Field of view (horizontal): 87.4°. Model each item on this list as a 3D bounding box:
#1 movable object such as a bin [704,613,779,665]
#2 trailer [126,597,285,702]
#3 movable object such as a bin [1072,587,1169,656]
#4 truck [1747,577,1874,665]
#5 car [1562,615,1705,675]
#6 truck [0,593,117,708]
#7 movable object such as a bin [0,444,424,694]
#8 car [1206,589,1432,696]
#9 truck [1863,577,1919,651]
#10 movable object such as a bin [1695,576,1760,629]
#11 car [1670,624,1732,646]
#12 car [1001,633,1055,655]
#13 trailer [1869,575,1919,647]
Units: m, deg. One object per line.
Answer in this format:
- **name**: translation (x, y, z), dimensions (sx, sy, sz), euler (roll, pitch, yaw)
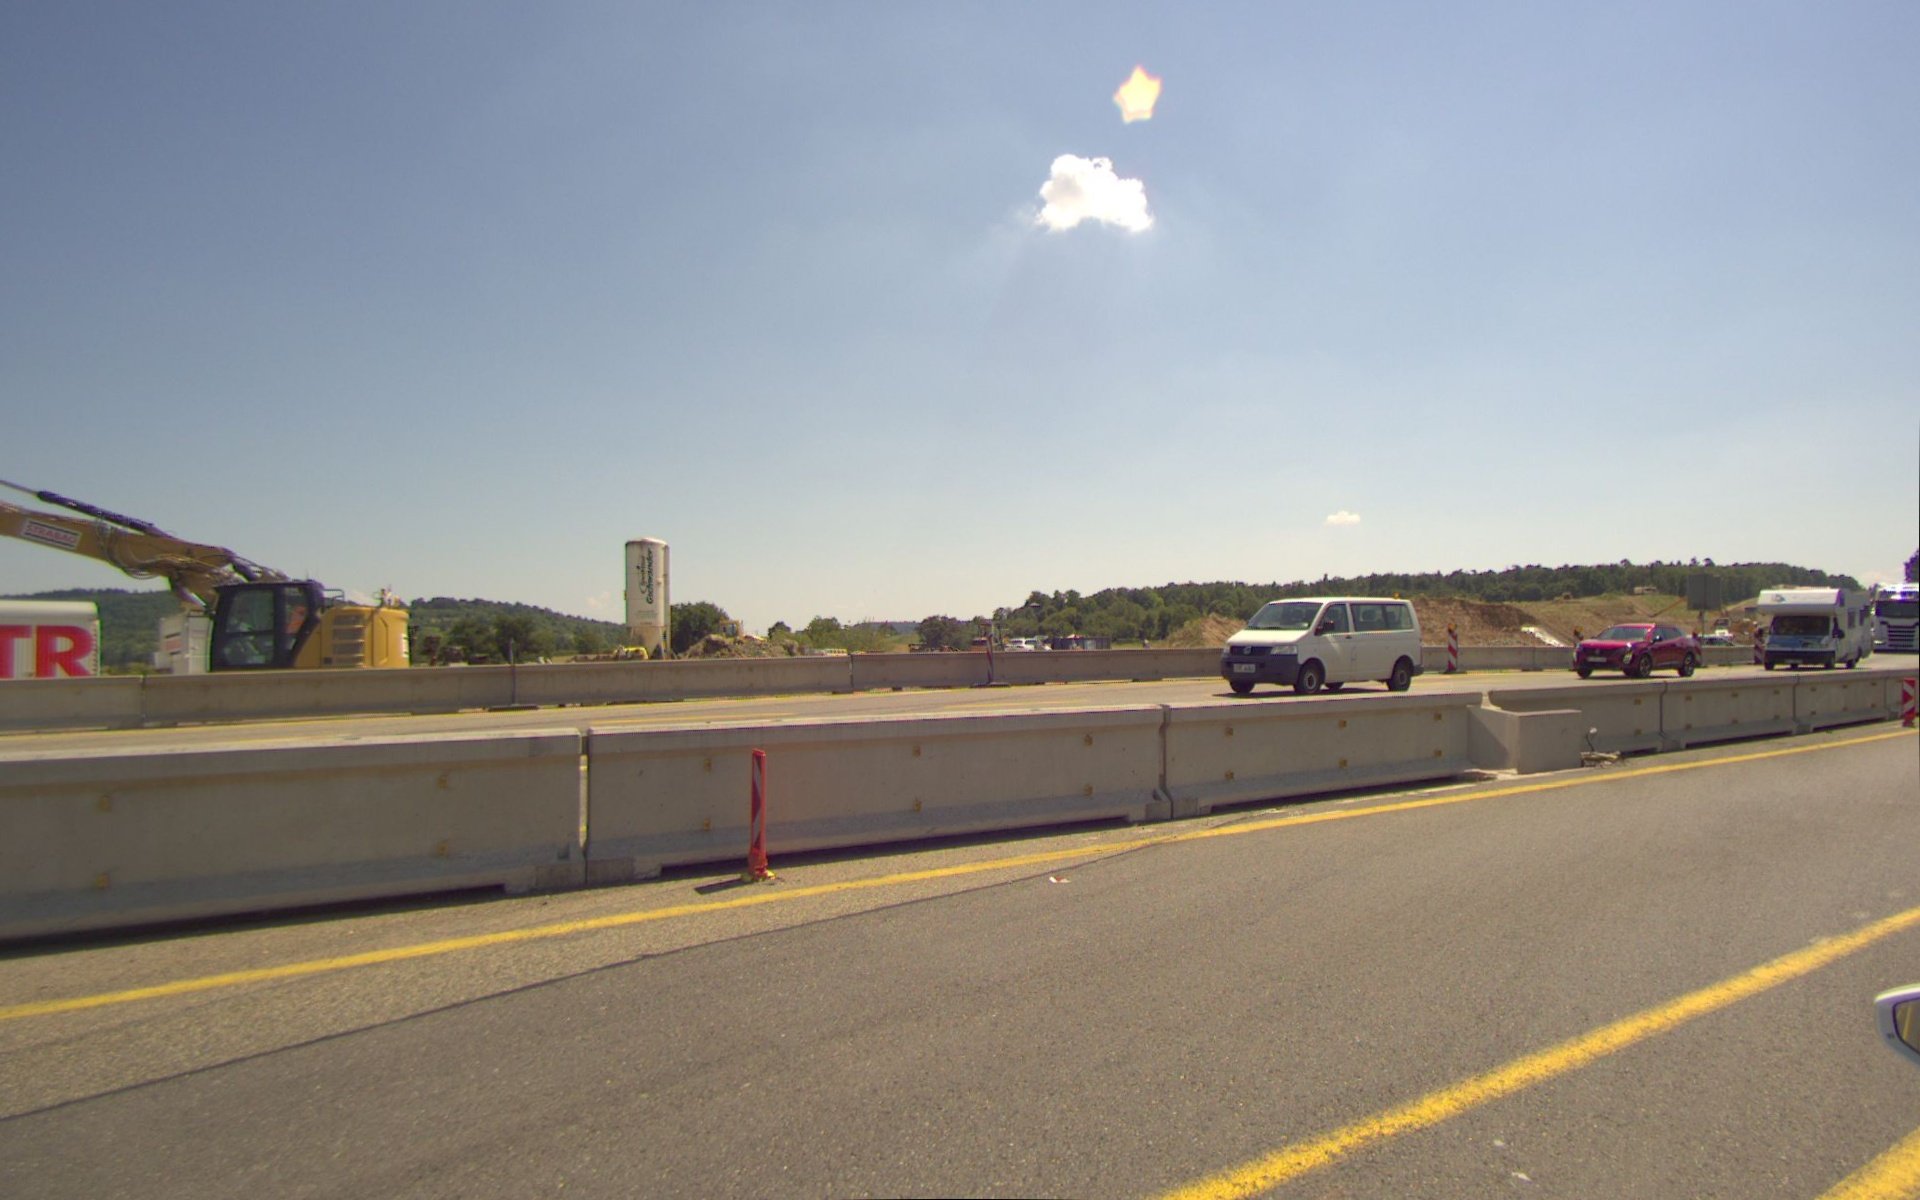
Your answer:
- **movable object such as a bin**: translation (-14.033, 2.474, 64.491), dimensions (4.425, 3.182, 1.988), euler (0, -1, -25)
- **trailer**: translation (-24.112, 1.521, 32.035), dimensions (5.498, 3.036, 2.870), euler (-2, -2, 40)
- **movable object such as a bin**: translation (7.742, 1.021, 48.429), dimensions (4.219, 3.182, 1.988), euler (0, -1, -25)
- **truck**: translation (32.761, 0.805, 38.597), dimensions (7.186, 3.112, 2.422), euler (1, -2, -39)
- **car**: translation (19.652, 1.263, 29.281), dimensions (4.284, 1.649, 1.712), euler (0, -2, -30)
- **truck**: translation (-26.454, 1.384, 27.942), dimensions (2.313, 3.083, 4.246), euler (-1, -2, 39)
- **movable object such as a bin**: translation (-15.866, -0.498, 19.824), dimensions (9.205, 4.387, 2.914), euler (0, -1, -27)
- **car**: translation (7.491, 0.838, 20.794), dimensions (4.839, 1.979, 1.855), euler (1, -2, -33)
- **truck**: translation (54.917, 0.834, 58.598), dimensions (5.458, 4.115, 2.678), euler (1, -2, -42)
- **movable object such as a bin**: translation (116.647, 0.484, 152.749), dimensions (7.554, 7.815, 3.426), euler (-2, -2, 43)
- **car**: translation (52.476, 2.481, 71.174), dimensions (3.137, 1.474, 1.548), euler (-1, -1, 15)
- **car**: translation (4.795, 3.056, 70.436), dimensions (1.592, 1.427, 4.428), euler (-1, -2, 38)
- **trailer**: translation (60.231, 0.737, 63.468), dimensions (13.872, 4.168, 2.735), euler (1, -2, -42)
